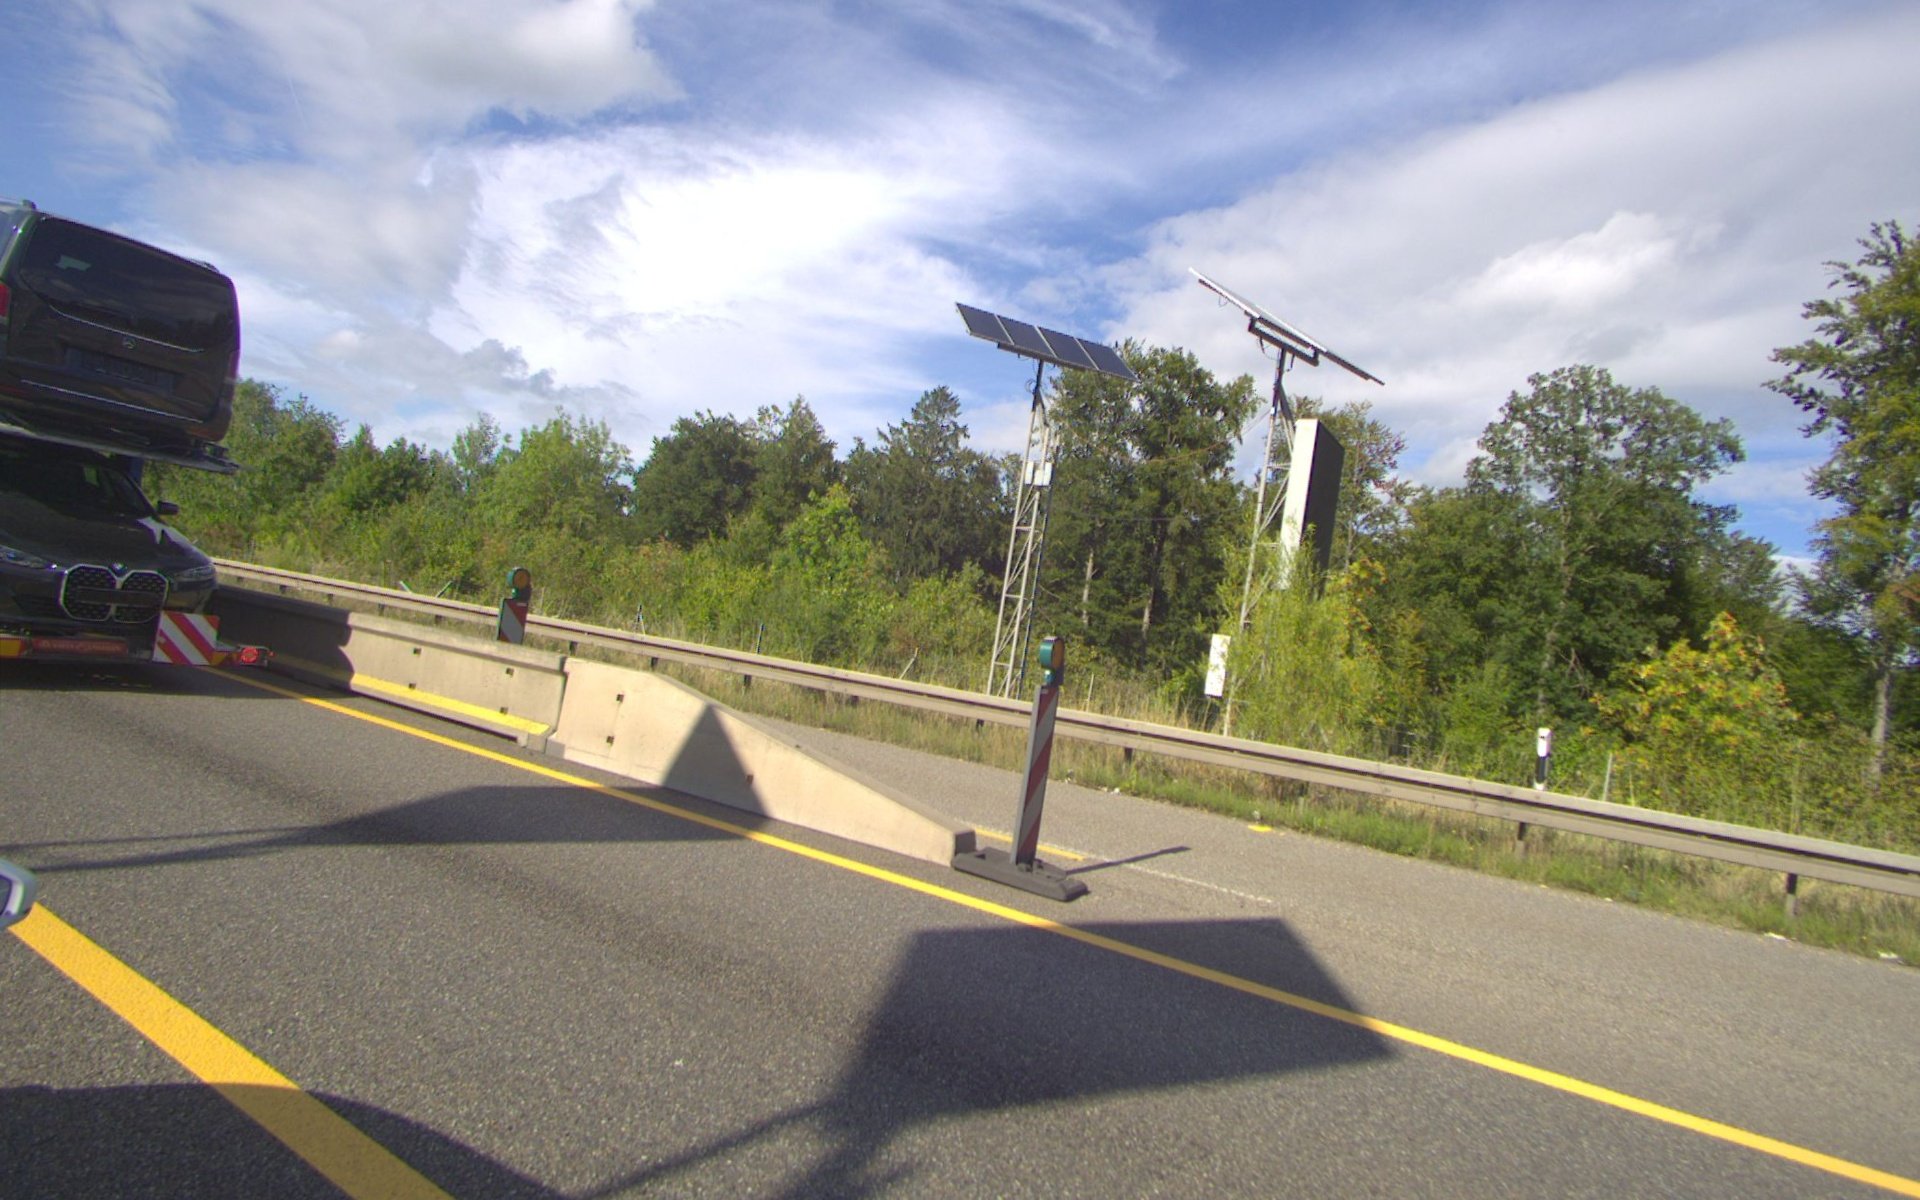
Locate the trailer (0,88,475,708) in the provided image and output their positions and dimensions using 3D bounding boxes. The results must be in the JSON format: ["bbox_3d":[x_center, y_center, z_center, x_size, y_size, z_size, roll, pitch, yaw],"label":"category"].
[{"bbox_3d":[-12.708,-2.008,12.522,15.959,4.245,3.733,7,-1,32],"label":"trailer"}]

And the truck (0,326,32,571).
[{"bbox_3d":[-19.732,-2.819,16.944,7.819,4.245,3.768,7,-1,32],"label":"truck"}]
